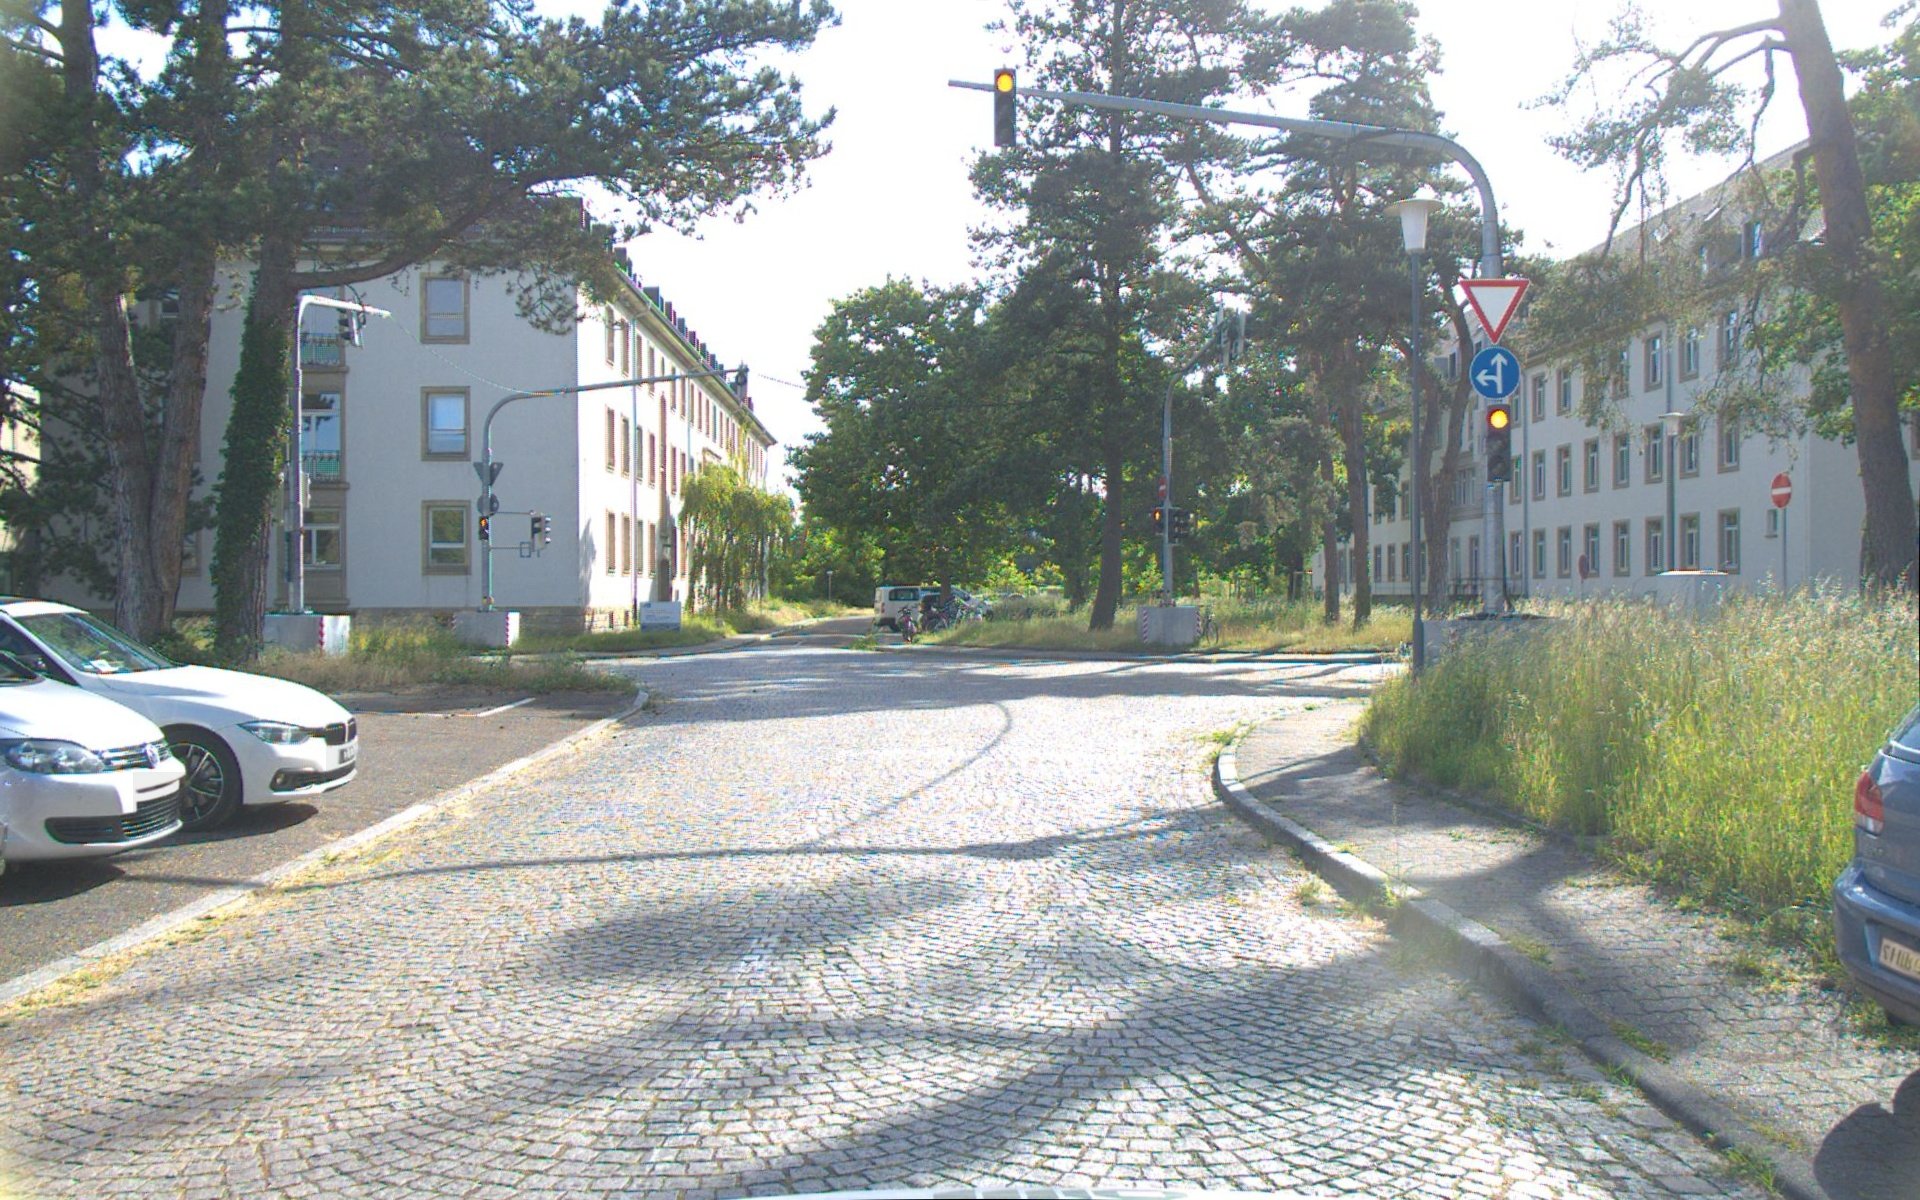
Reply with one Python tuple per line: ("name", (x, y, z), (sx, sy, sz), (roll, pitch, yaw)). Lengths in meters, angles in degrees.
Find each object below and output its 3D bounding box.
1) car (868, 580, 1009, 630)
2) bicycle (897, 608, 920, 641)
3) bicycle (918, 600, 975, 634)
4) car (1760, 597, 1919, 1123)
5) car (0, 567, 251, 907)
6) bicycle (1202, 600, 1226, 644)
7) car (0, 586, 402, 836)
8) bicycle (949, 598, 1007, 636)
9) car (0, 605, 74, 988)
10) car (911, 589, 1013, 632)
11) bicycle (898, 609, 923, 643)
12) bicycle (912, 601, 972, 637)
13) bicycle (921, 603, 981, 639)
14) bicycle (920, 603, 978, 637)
("car", (-0.952, 0.198, 71.425), (5.820, 2.049, 2.470), (0, 0, -9))
("bicycle", (-1.619, 0.749, 51.731), (0.681, 0.988, 1.859), (0, 0, -4))
("bicycle", (-0.469, 0.580, 56.447), (1.904, 1.149, 0.647), (0, 0, -7))
("car", (4.686, 0.704, 4.679), (3.935, 1.486, 1.870), (-1, 0, -2))
("car", (-6.115, 0.616, 8.837), (3.868, 1.654, 1.720), (2, 0, -6))
("bicycle", (6.350, 0.547, 41.395), (0.456, 1.099, 1.174), (0, 0, 2))
("car", (-6.340, 0.674, 11.269), (4.451, 1.493, 1.751), (2, 0, -5))
("bicycle", (0.598, 0.556, 54.849), (1.903, 1.257, 0.485), (0, 0, -5))
("car", (-5.600, 0.706, 6.052), (3.721, 1.496, 1.687), (2, 0, -3))
("car", (0.058, 0.419, 67.073), (3.914, 1.713, 1.843), (0, 0, -10))
("bicycle", (-1.490, 0.766, 49.783), (0.681, 0.988, 1.859), (0, 0, -4))
("bicycle", (-0.601, 0.630, 55.323), (1.919, 1.149, 0.641), (0, 0, -29))
("bicycle", (-0.307, 0.679, 54.117), (1.903, 1.149, 0.749), (0, 0, -5))
("bicycle", (-0.367, 0.638, 53.318), (1.818, 1.049, 0.749), (0, 0, -5))
